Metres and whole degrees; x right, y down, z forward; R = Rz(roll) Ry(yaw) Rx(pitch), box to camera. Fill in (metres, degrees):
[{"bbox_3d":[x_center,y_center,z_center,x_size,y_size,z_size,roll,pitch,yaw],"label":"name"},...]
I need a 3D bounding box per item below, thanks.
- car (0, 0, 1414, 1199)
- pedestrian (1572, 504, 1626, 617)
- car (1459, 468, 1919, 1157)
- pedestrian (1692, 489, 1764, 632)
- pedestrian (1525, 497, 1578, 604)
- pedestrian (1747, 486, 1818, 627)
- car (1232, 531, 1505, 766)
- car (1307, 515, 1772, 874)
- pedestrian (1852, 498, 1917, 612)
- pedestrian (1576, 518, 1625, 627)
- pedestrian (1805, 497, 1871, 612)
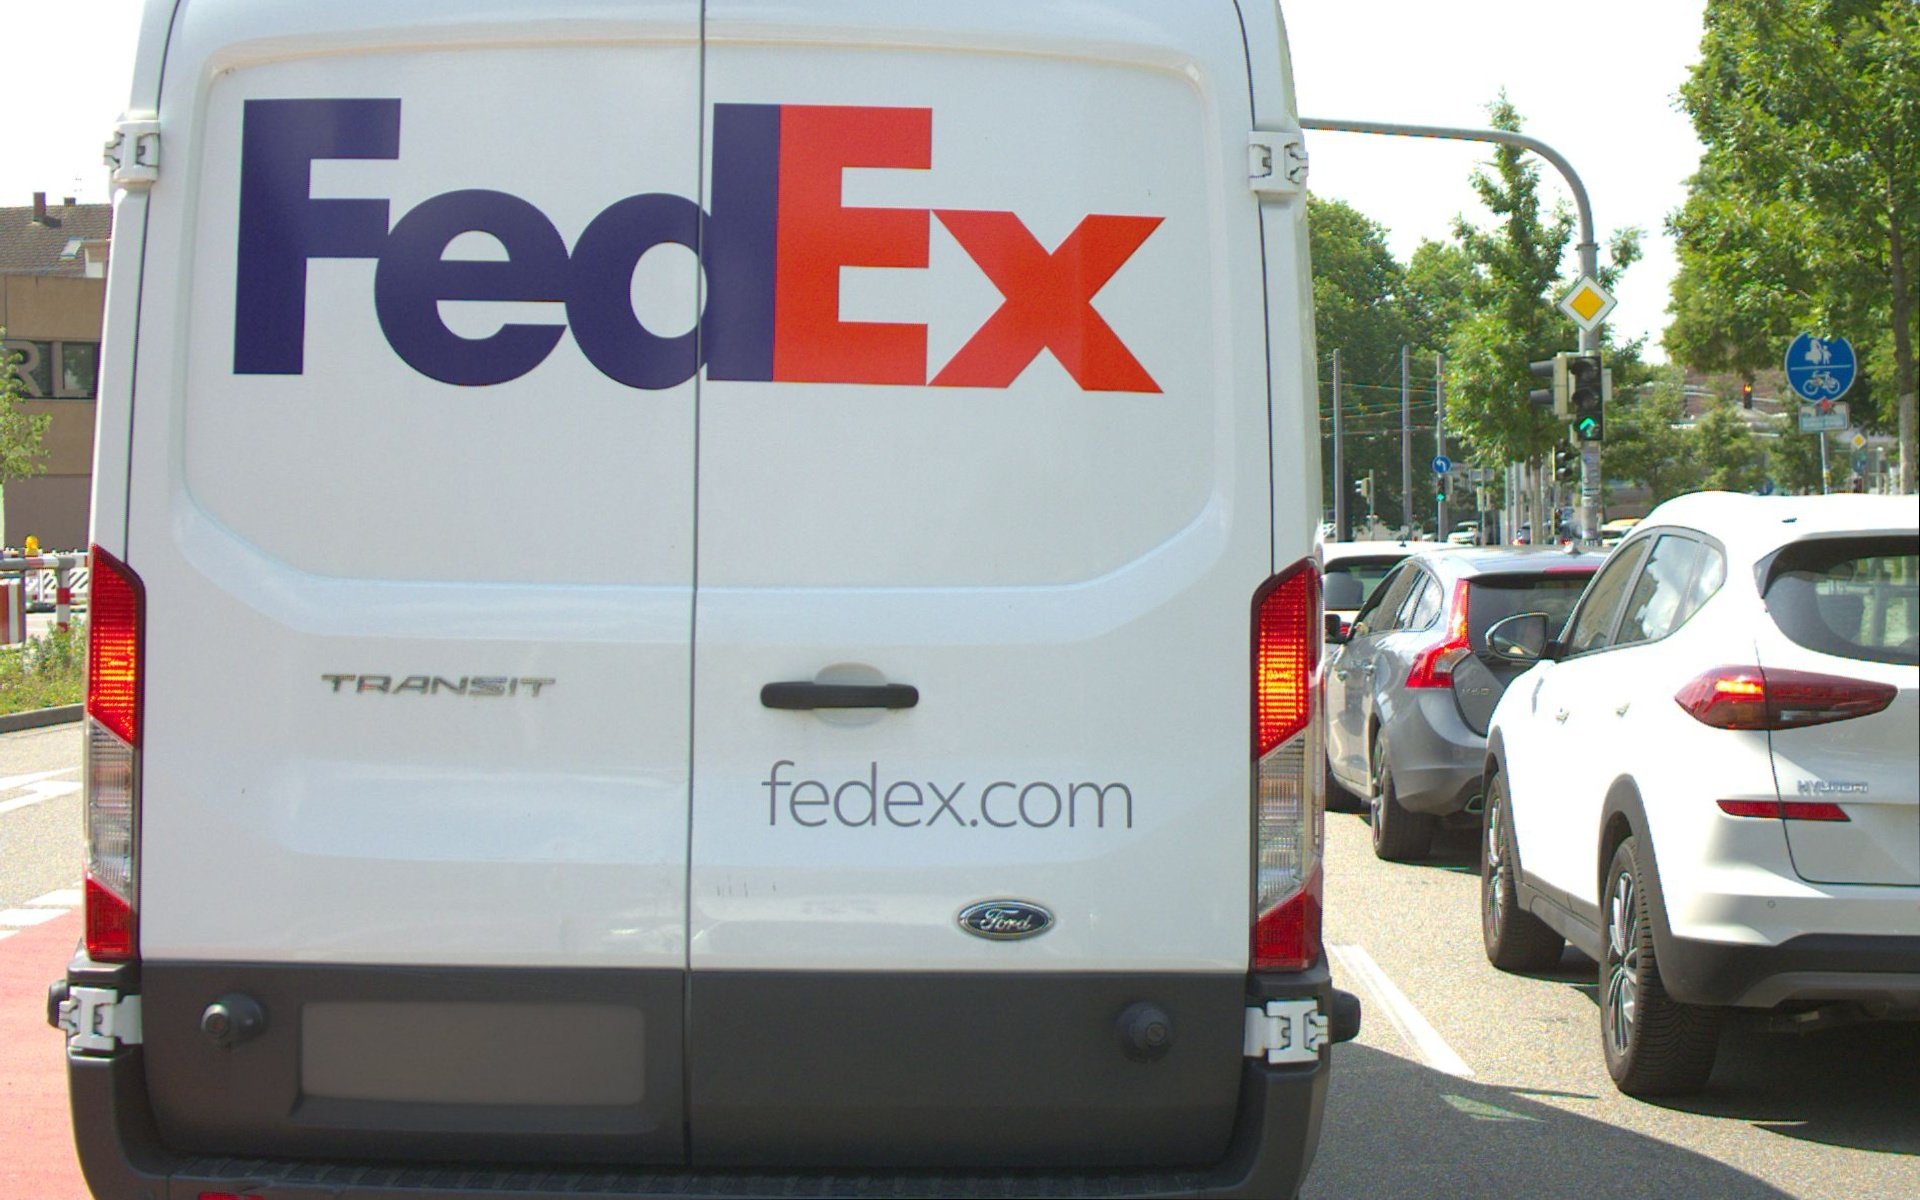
[{"bbox_3d":[-0.348,0.067,7.201,2.072,2.572,4.428,0,1,1],"label":"car"},{"bbox_3d":[10.543,-0.655,56.695,0.759,1.843,0.815,0,1,18],"label":"pedestrian"},{"bbox_3d":[2.670,0.462,10.327,1.814,1.673,3.974,0,1,1],"label":"car"},{"bbox_3d":[10.024,-0.526,44.878,0.759,1.843,0.816,-1,1,1],"label":"pedestrian"},{"bbox_3d":[10.302,-0.874,59.940,0.813,1.843,0.761,0,1,3],"label":"pedestrian"},{"bbox_3d":[10.822,-0.578,45.242,0.759,1.843,0.816,-1,1,3],"label":"pedestrian"},{"bbox_3d":[2.729,0.277,23.547,1.499,1.459,3.474,0,1,1],"label":"car"},{"bbox_3d":[2.704,0.364,16.796,1.691,1.543,3.720,0,1,1],"label":"car"},{"bbox_3d":[15.144,-0.744,56.318,0.758,1.843,0.816,-1,1,-8],"label":"pedestrian"},{"bbox_3d":[10.999,-0.476,59.055,0.759,1.843,0.816,0,1,15],"label":"pedestrian"},{"bbox_3d":[14.315,-0.750,56.057,0.758,1.843,0.816,-1,1,-10],"label":"pedestrian"}]
